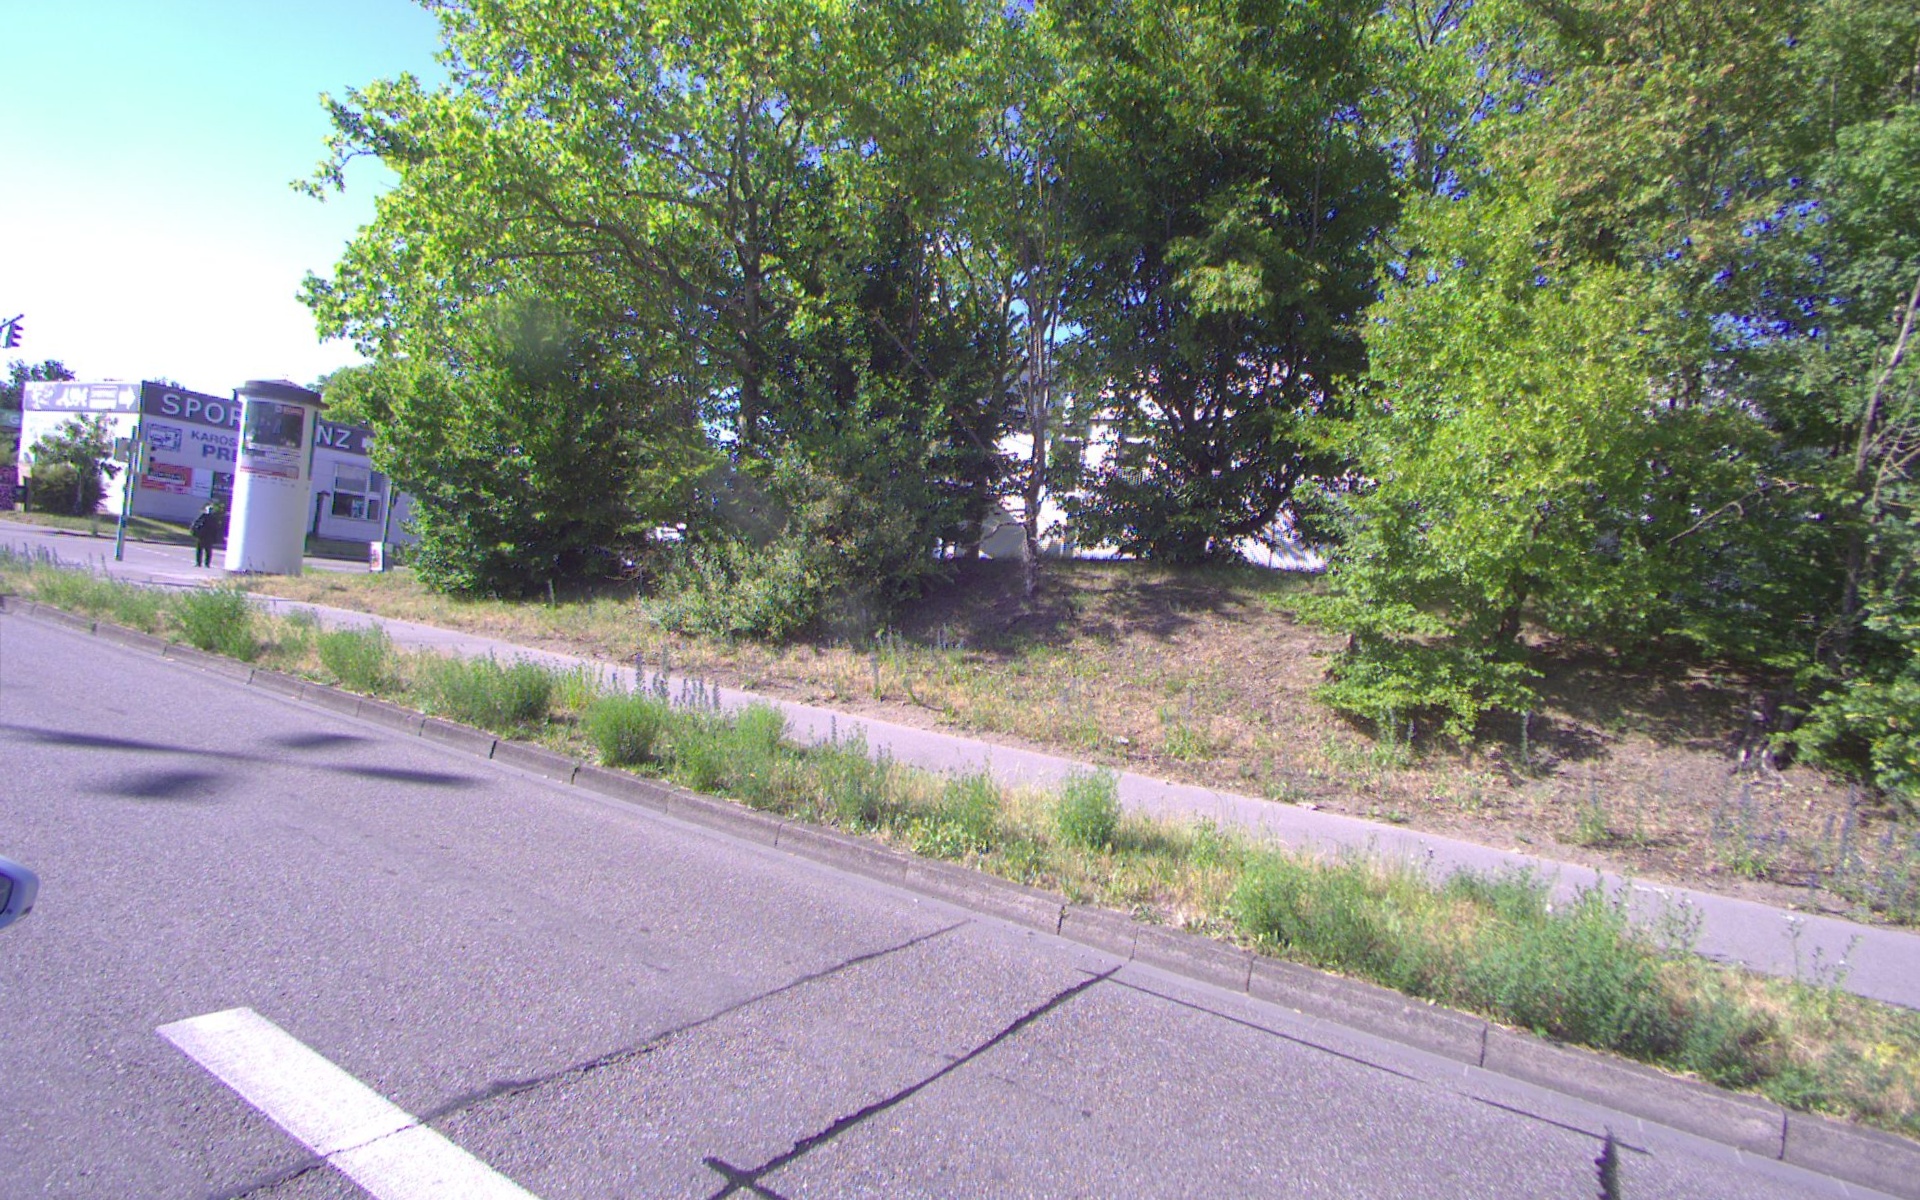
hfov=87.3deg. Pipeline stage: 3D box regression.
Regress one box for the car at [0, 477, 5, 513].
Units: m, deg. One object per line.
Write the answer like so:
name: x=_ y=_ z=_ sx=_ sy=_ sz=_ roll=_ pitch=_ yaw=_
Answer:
car: x=-48.291 y=-5.347 z=47.684 sx=1.663 sy=1.726 sz=4.003 roll=7 pitch=-1 yaw=16

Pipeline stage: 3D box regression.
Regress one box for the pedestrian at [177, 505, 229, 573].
pedestrian: x=-21.042 y=-1.699 z=27.976 sx=0.841 sy=1.743 sz=0.822 roll=7 pitch=0 yaw=39
